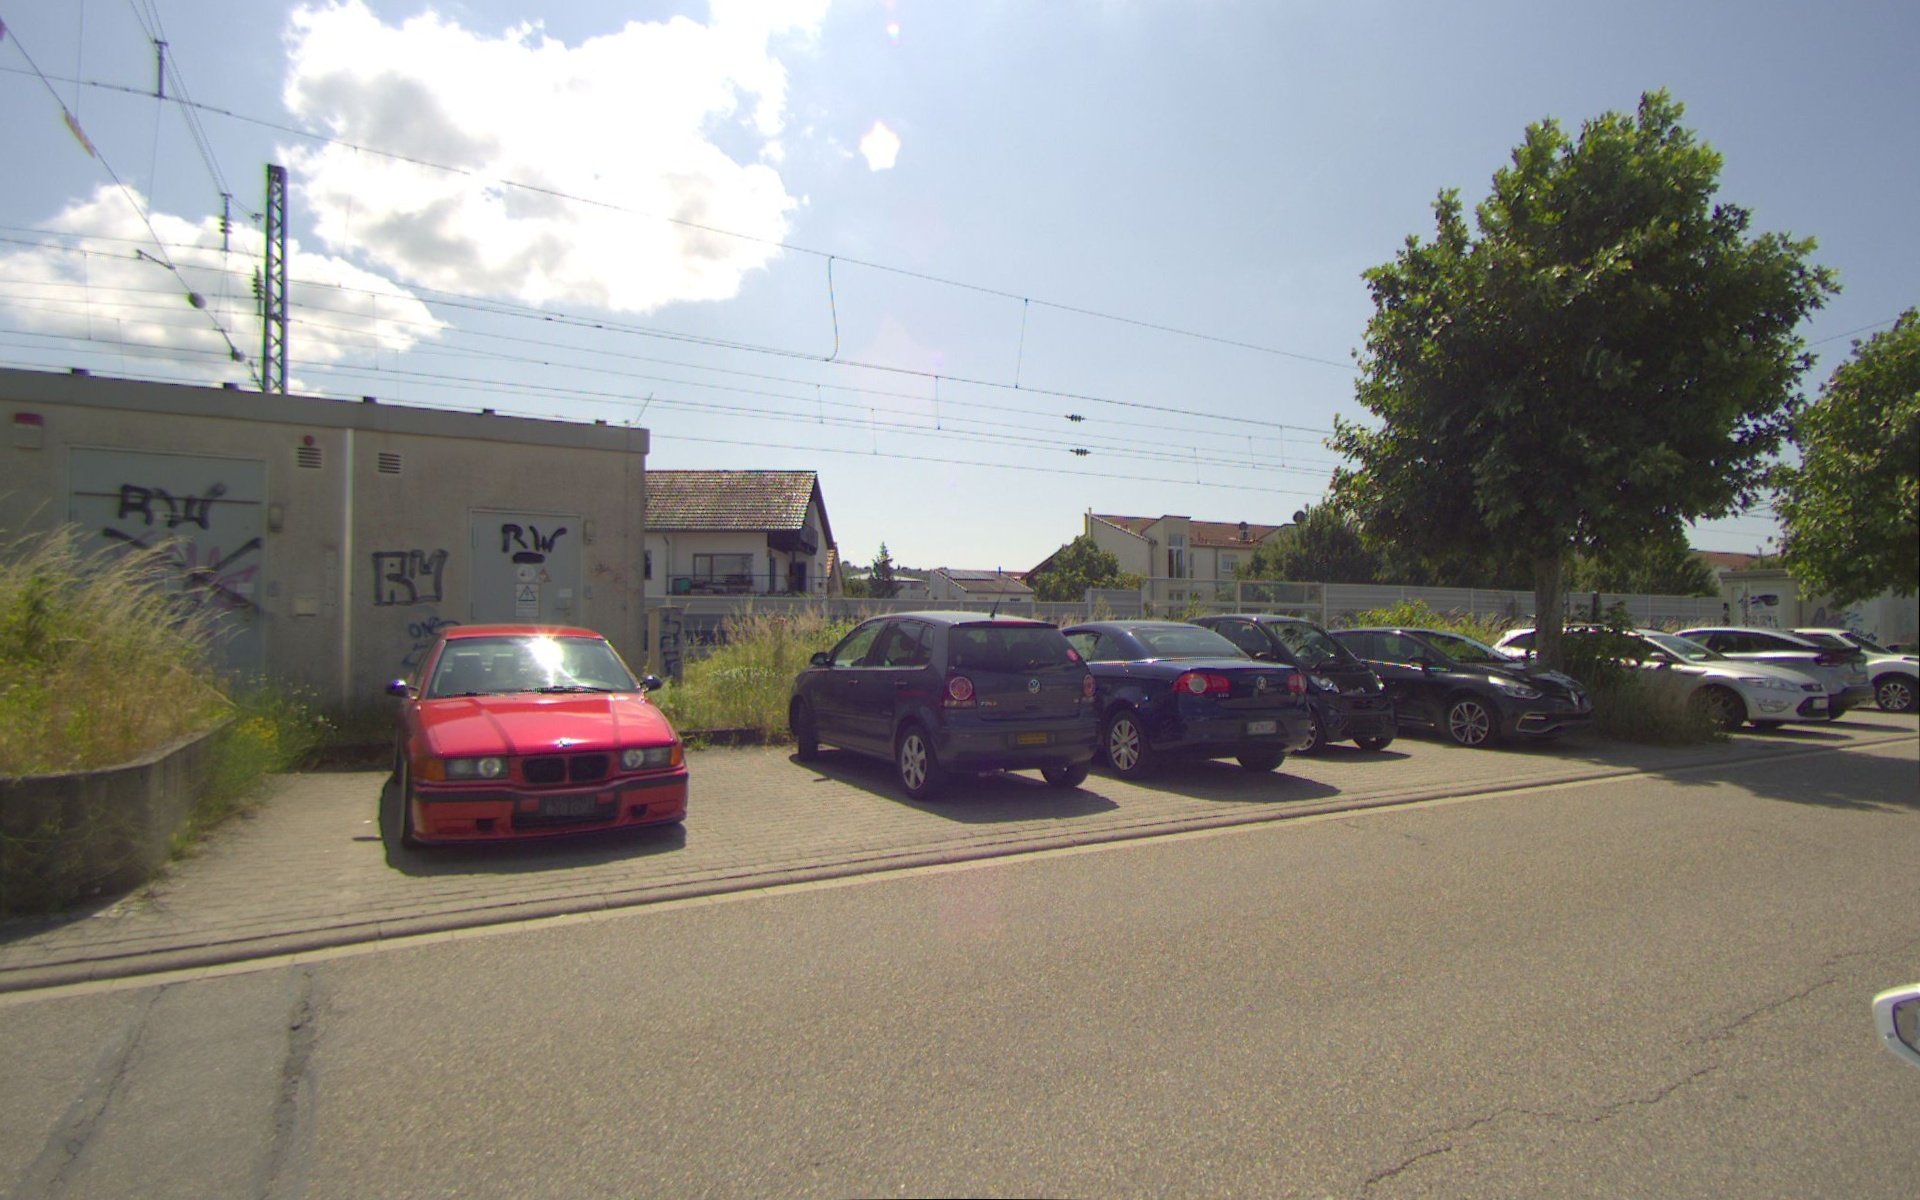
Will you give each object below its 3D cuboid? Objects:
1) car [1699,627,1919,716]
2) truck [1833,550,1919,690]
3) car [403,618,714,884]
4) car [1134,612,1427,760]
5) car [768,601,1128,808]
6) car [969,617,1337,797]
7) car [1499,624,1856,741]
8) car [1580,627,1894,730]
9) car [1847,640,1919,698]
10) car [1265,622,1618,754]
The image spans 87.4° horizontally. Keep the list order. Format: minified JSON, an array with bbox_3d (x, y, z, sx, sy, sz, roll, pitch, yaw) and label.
[{"bbox_3d":[17.850,1.395,20.620,1.831,1.639,3.947,1,-2,-33],"label":"car"},{"bbox_3d":[28.383,0.568,27.322,2.634,3.873,6.579,2,-2,-32],"label":"truck"},{"bbox_3d":[-3.233,0.849,7.573,1.654,1.387,4.054,0,-1,-30],"label":"car"},{"bbox_3d":[3.811,0.970,12.353,1.585,1.558,3.171,2,-3,-32],"label":"car"},{"bbox_3d":[-0.307,0.770,9.227,1.665,1.467,3.646,1,0,-32],"label":"car"},{"bbox_3d":[1.750,0.951,10.388,1.763,1.469,3.933,2,-2,-26],"label":"car"},{"bbox_3d":[11.336,1.199,16.211,1.904,1.553,4.317,1,-1,-30],"label":"car"},{"bbox_3d":[13.522,1.283,17.706,1.978,1.568,3.966,2,-2,-32],"label":"car"},{"bbox_3d":[25.066,1.757,24.970,1.851,1.413,4.186,2,-2,-32],"label":"car"},{"bbox_3d":[6.285,1.081,13.609,1.765,1.492,4.055,2,-3,-30],"label":"car"}]
